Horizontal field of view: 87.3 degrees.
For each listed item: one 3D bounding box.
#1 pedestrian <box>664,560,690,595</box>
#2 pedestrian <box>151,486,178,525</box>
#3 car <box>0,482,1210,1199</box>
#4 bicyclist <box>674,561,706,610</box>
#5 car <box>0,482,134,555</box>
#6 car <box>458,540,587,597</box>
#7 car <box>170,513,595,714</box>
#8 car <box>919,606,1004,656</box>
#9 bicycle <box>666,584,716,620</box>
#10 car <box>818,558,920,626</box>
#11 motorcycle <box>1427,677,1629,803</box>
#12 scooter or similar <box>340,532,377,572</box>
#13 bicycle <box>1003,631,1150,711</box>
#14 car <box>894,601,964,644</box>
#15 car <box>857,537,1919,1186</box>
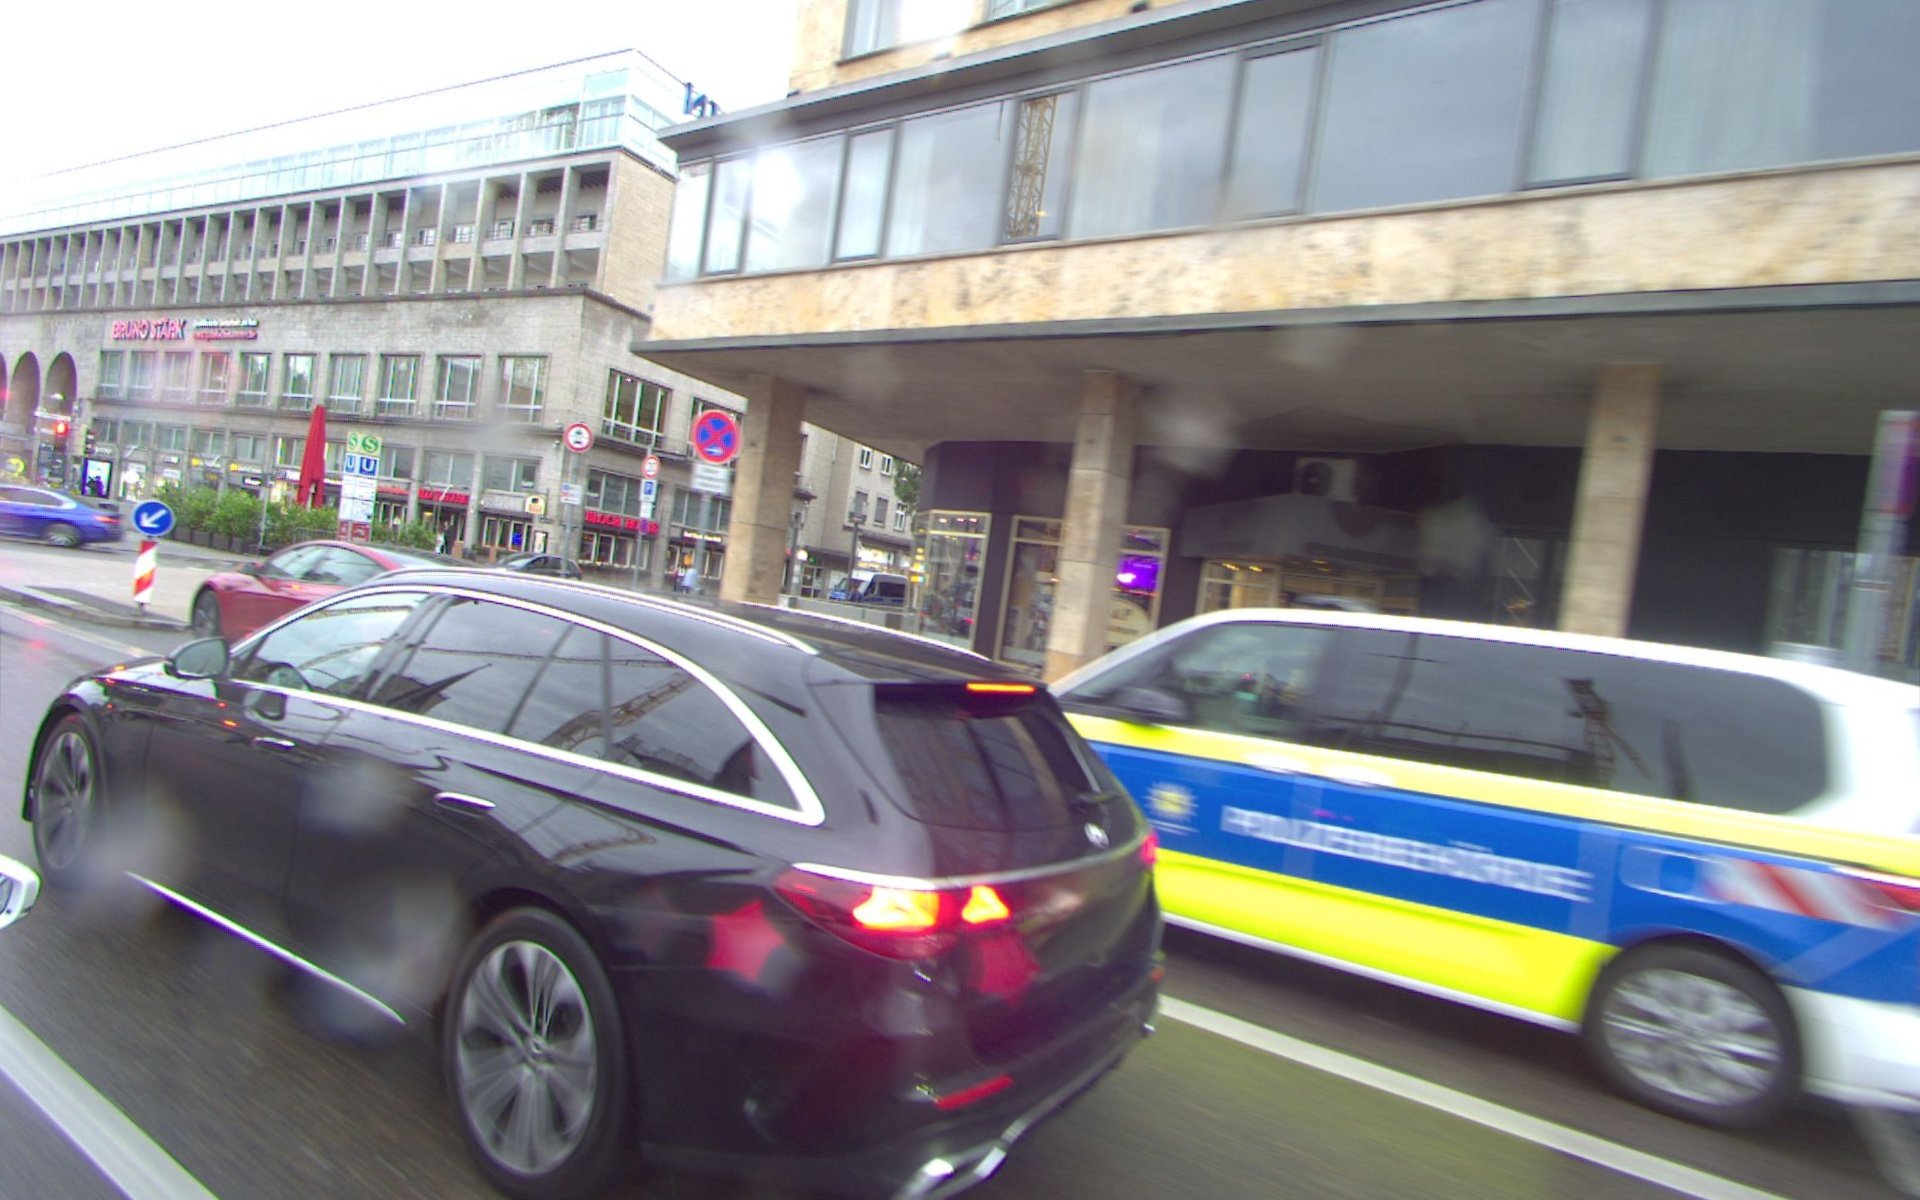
[{"bbox_3d":[-13.640,-1.093,48.426,0.704,1.530,0.759,7,-1,27],"label":"pedestrian"},{"bbox_3d":[-44.622,-5.289,56.431,0.811,2.037,0.764,7,-1,32],"label":"pedestrian"},{"bbox_3d":[-1.646,0.580,3.753,4.552,1.519,1.797,7,-2,32],"label":"car"},{"bbox_3d":[-9.156,-0.480,34.112,0.601,1.558,0.719,7,-1,13],"label":"bicyclist"},{"bbox_3d":[-23.732,-2.185,25.050,4.605,1.414,1.744,9,-2,-33],"label":"car"},{"bbox_3d":[-15.392,-1.076,35.537,1.822,1.414,3.660,7,-2,33],"label":"car"},{"bbox_3d":[-6.195,0.104,10.656,4.451,1.503,1.878,7,-2,31],"label":"car"},{"bbox_3d":[0.121,1.543,49.240,1.966,1.995,4.638,8,0,29],"label":"car"},{"bbox_3d":[-9.165,0.091,34.365,0.581,1.021,2.217,7,-2,12],"label":"bicycle"},{"bbox_3d":[-4.738,-0.343,53.577,1.966,2.793,6.182,7,-2,30],"label":"car"},{"bbox_3d":[7.243,1.757,12.909,2.074,1.232,0.567,7,-1,40],"label":"motorcycle"},{"bbox_3d":[-20.187,-1.604,33.756,1.000,1.203,0.291,7,0,13],"label":"scooter or similar"},{"bbox_3d":[2.034,1.239,17.786,2.431,1.058,0.657,7,-1,32],"label":"bicycle"},{"bbox_3d":[-1.800,1.383,60.580,1.966,2.066,4.556,7,-2,29],"label":"car"},{"bbox_3d":[2.044,0.930,5.439,4.853,1.942,1.878,7,-1,31],"label":"car"}]
